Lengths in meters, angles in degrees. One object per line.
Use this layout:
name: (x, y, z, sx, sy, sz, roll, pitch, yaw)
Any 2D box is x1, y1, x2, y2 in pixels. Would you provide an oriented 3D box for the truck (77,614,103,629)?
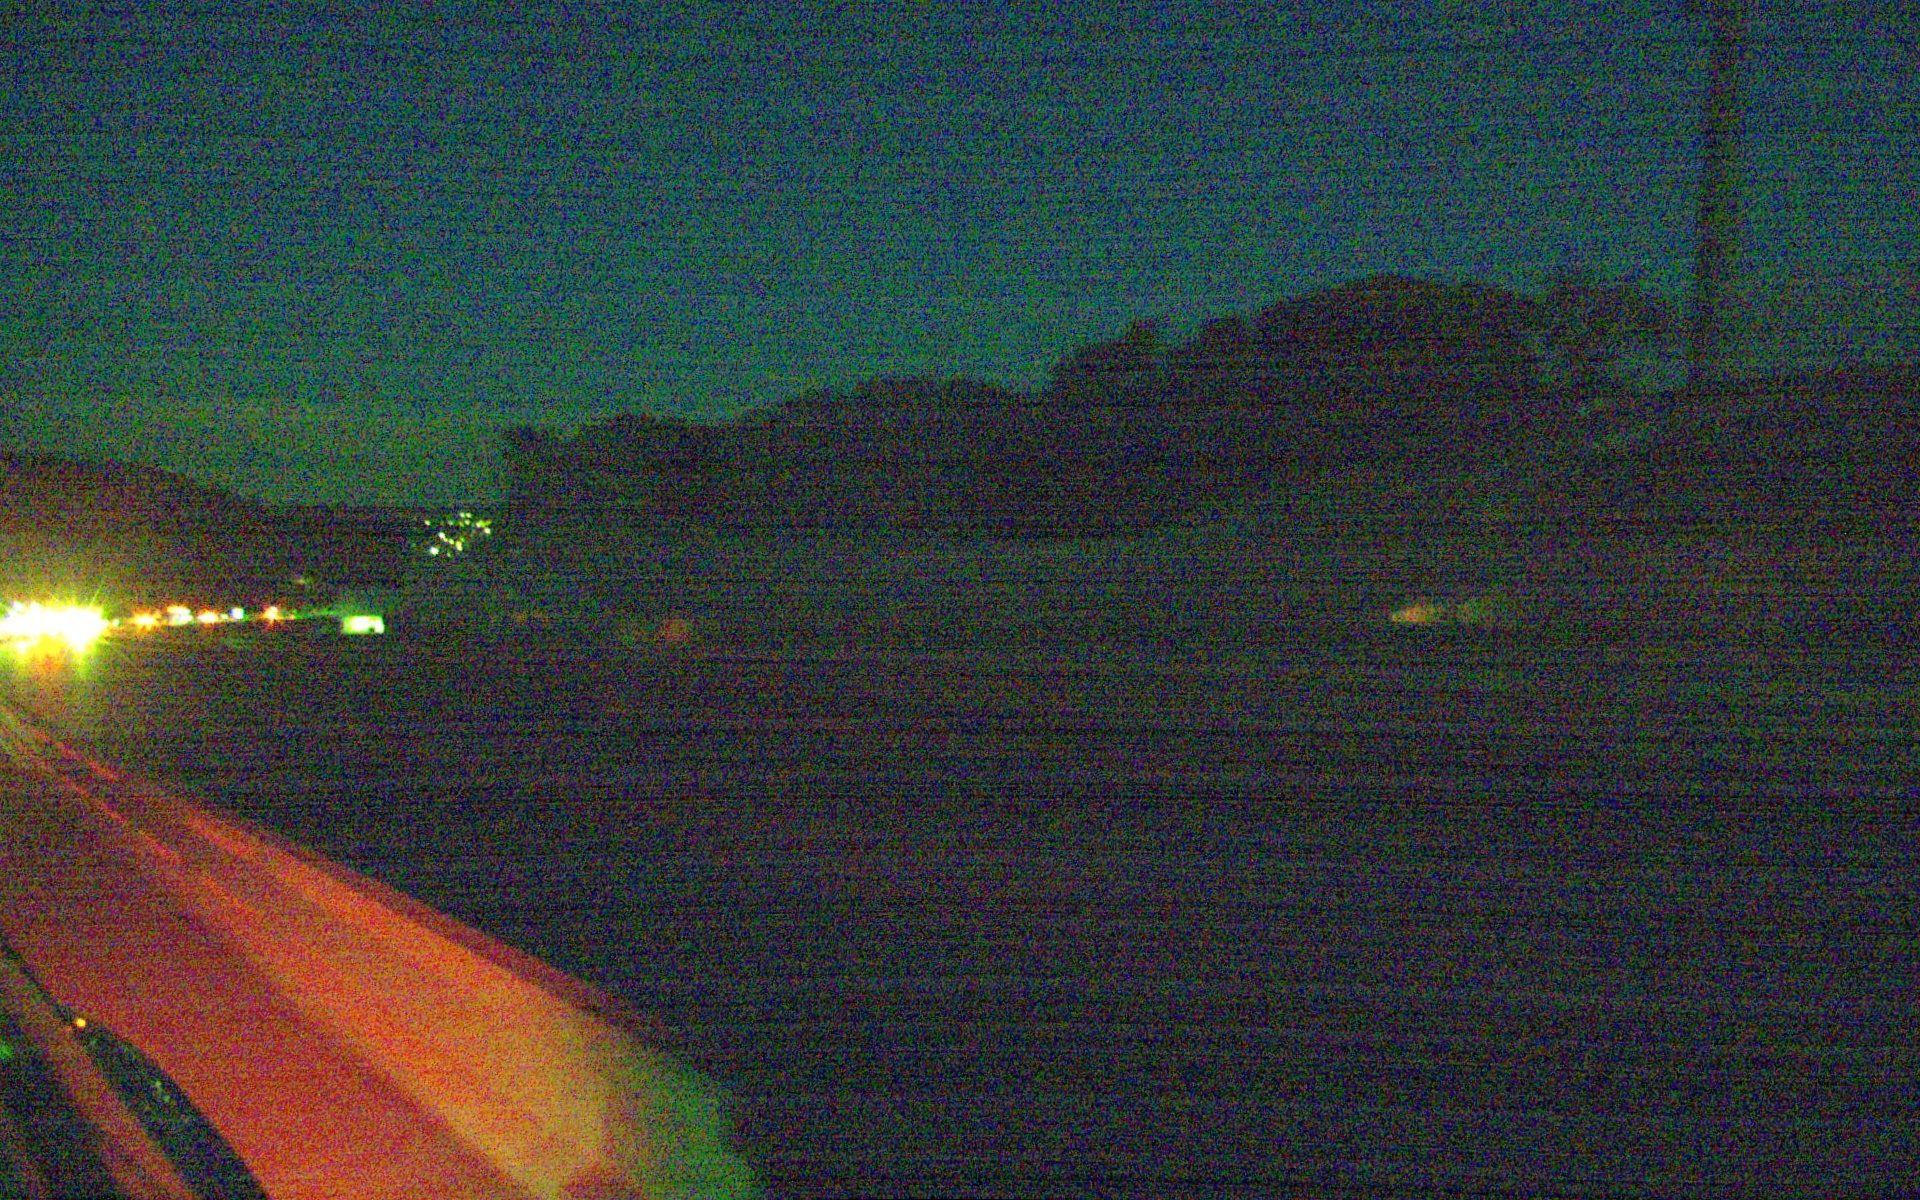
truck: (-146.899, 3.685, 170.896, 2.388, 2.443, 7.110, 1, -2, -34)

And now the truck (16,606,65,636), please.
truck: (-139.533, 3.072, 153.749, 2.924, 4.307, 17.190, 1, -1, -34)

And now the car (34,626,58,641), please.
car: (-96.840, 3.545, 107.231, 1.796, 1.527, 4.529, 2, -1, -41)

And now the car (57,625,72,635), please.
car: (-152.937, 5.163, 172.888, 1.665, 1.641, 4.730, 2, -3, -39)
